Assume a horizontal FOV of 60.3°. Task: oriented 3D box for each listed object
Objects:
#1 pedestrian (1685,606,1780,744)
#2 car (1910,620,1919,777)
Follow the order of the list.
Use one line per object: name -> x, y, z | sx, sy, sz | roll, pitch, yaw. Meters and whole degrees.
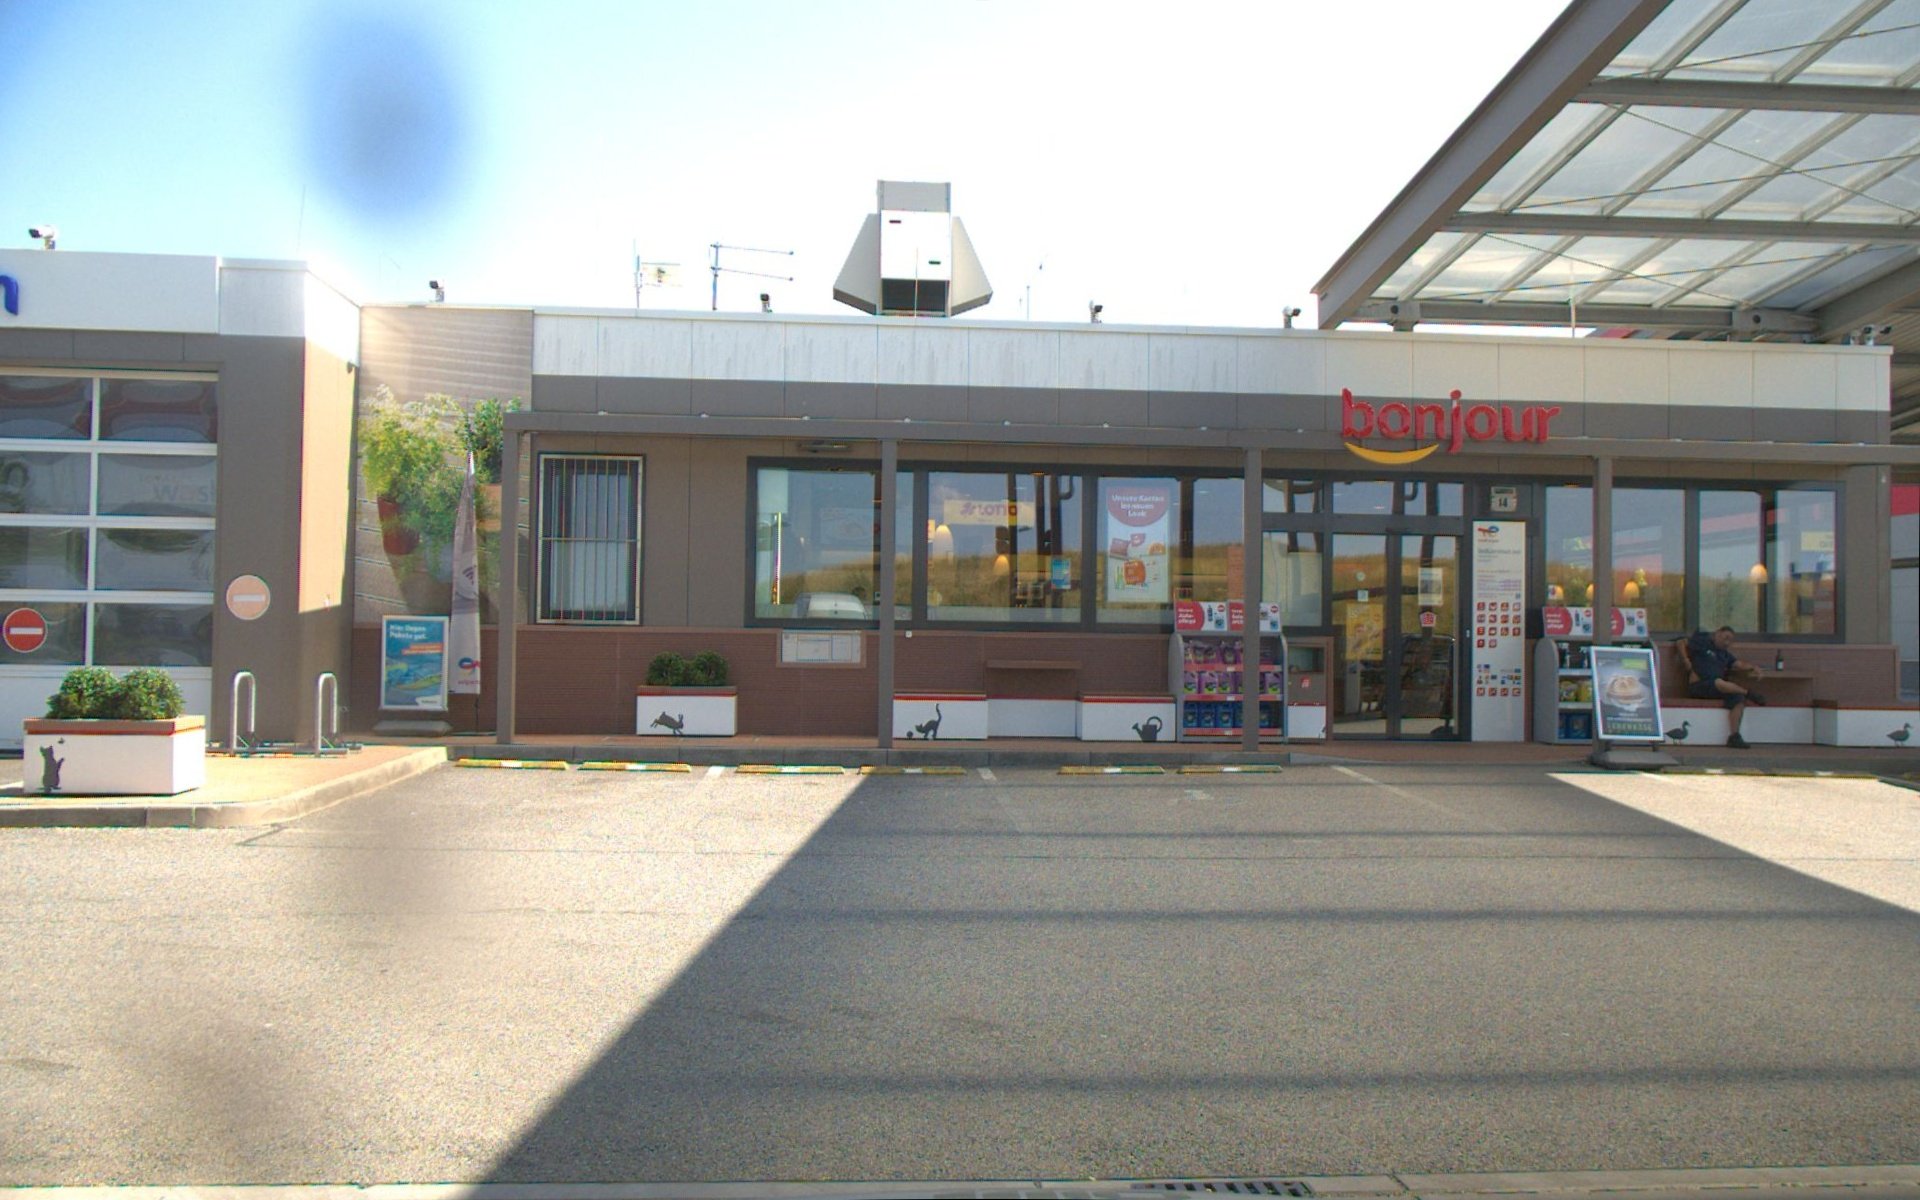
pedestrian -> 8.323, 0.800, 17.833 | 0.687, 1.457, 0.672 | 0, -1, -5
car -> 10.333, 0.928, 13.845 | 1.797, 1.482, 4.310 | 1, -1, -10
